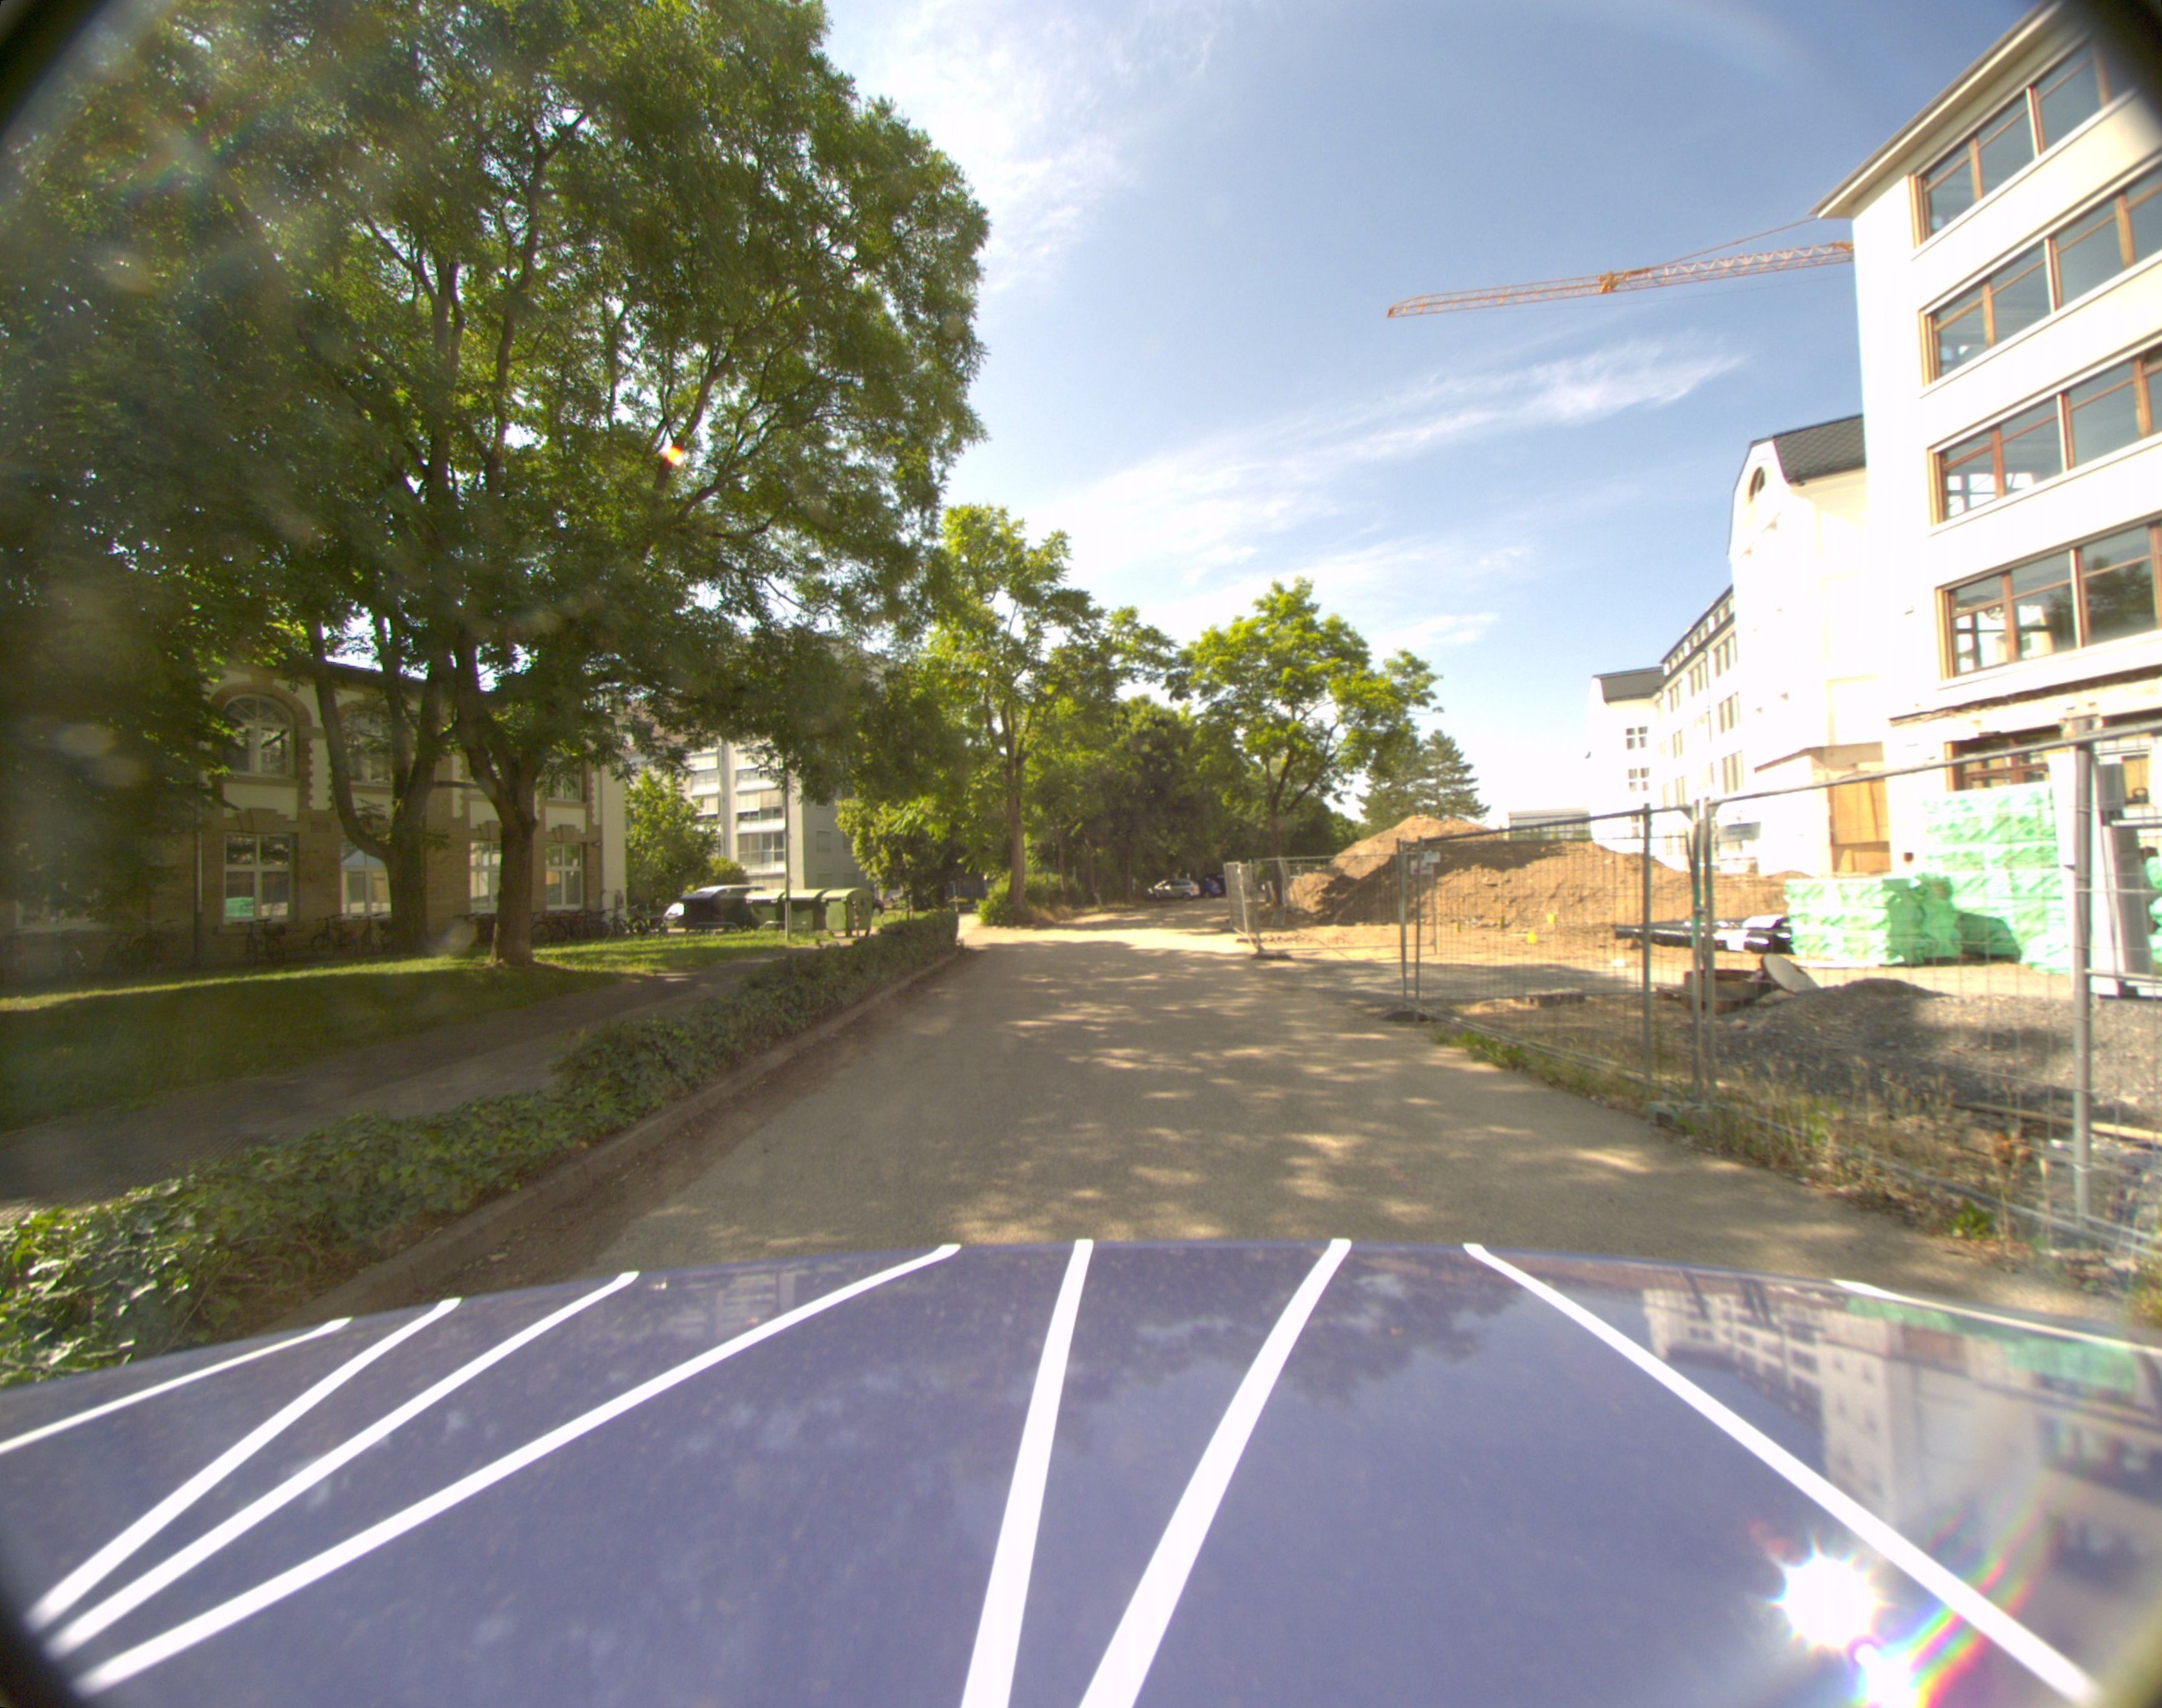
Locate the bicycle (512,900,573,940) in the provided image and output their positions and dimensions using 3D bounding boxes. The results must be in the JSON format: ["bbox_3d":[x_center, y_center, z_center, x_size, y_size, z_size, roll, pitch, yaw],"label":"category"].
[{"bbox_3d":[-16.403,2.012,23.131,1.917,1.154,0.589,-3,-1,24],"label":"bicycle"}]

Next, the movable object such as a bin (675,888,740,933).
[{"bbox_3d":[-12.367,1.856,25.160,1.433,1.401,1.252,-2,-1,20],"label":"movable object such as a bin"}]

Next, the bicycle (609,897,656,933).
[{"bbox_3d":[-15.181,2.058,25.691,1.800,1.154,0.508,-3,-1,29],"label":"bicycle"}]

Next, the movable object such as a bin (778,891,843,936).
[{"bbox_3d":[-8.243,1.809,23.202,1.352,1.292,1.217,-2,-1,21],"label":"movable object such as a bin"}]

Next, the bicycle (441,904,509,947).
[{"bbox_3d":[-17.181,2.014,21.543,2.097,1.154,0.589,-3,-1,24],"label":"bicycle"}]

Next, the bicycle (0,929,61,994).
[{"bbox_3d":[-20.503,2.039,14.629,2.097,1.154,0.589,-3,-1,24],"label":"bicycle"}]

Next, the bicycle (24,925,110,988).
[{"bbox_3d":[-20.359,2.037,15.249,2.097,1.154,0.589,-3,-1,24],"label":"bicycle"}]

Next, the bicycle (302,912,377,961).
[{"bbox_3d":[-18.482,2.045,18.932,2.097,1.154,0.589,-3,-1,24],"label":"bicycle"}]

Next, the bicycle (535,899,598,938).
[{"bbox_3d":[-16.157,2.033,23.843,2.097,1.154,0.589,-3,-1,24],"label":"bicycle"}]

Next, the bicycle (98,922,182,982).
[{"bbox_3d":[-19.914,2.054,16.072,2.097,1.154,0.589,-3,-1,24],"label":"bicycle"}]

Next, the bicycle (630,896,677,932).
[{"bbox_3d":[-14.710,2.058,26.130,1.940,1.154,0.558,-3,-1,34],"label":"bicycle"}]

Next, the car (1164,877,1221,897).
[{"bbox_3d":[8.630,2.547,58.770,3.991,1.433,2.003,-2,-2,19],"label":"car"}]

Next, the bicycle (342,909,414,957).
[{"bbox_3d":[-18.193,2.036,19.654,2.097,1.154,0.589,-3,-1,24],"label":"bicycle"}]

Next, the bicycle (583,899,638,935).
[{"bbox_3d":[-15.589,2.090,25.164,1.847,1.154,0.614,-3,-1,24],"label":"bicycle"}]

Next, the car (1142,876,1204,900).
[{"bbox_3d":[6.513,2.394,53.808,3.991,1.499,2.003,-2,-2,19],"label":"car"}]

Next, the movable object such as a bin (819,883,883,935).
[{"bbox_3d":[-6.853,1.622,22.646,1.389,1.454,1.218,-3,-1,36],"label":"movable object such as a bin"}]

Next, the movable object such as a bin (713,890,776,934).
[{"bbox_3d":[-10.893,1.859,24.613,1.349,1.341,1.217,-2,-1,21],"label":"movable object such as a bin"}]

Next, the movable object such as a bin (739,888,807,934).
[{"bbox_3d":[-9.630,1.769,23.762,1.499,1.353,1.217,-2,-1,21],"label":"movable object such as a bin"}]

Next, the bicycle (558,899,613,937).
[{"bbox_3d":[-15.900,2.046,24.357,1.909,1.154,0.495,-3,-1,24],"label":"bicycle"}]

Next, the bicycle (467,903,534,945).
[{"bbox_3d":[-16.954,2.030,22.177,2.097,1.154,0.589,-3,-1,24],"label":"bicycle"}]

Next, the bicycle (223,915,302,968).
[{"bbox_3d":[-19.082,2.031,17.705,2.097,1.154,0.589,-3,-1,24],"label":"bicycle"}]
